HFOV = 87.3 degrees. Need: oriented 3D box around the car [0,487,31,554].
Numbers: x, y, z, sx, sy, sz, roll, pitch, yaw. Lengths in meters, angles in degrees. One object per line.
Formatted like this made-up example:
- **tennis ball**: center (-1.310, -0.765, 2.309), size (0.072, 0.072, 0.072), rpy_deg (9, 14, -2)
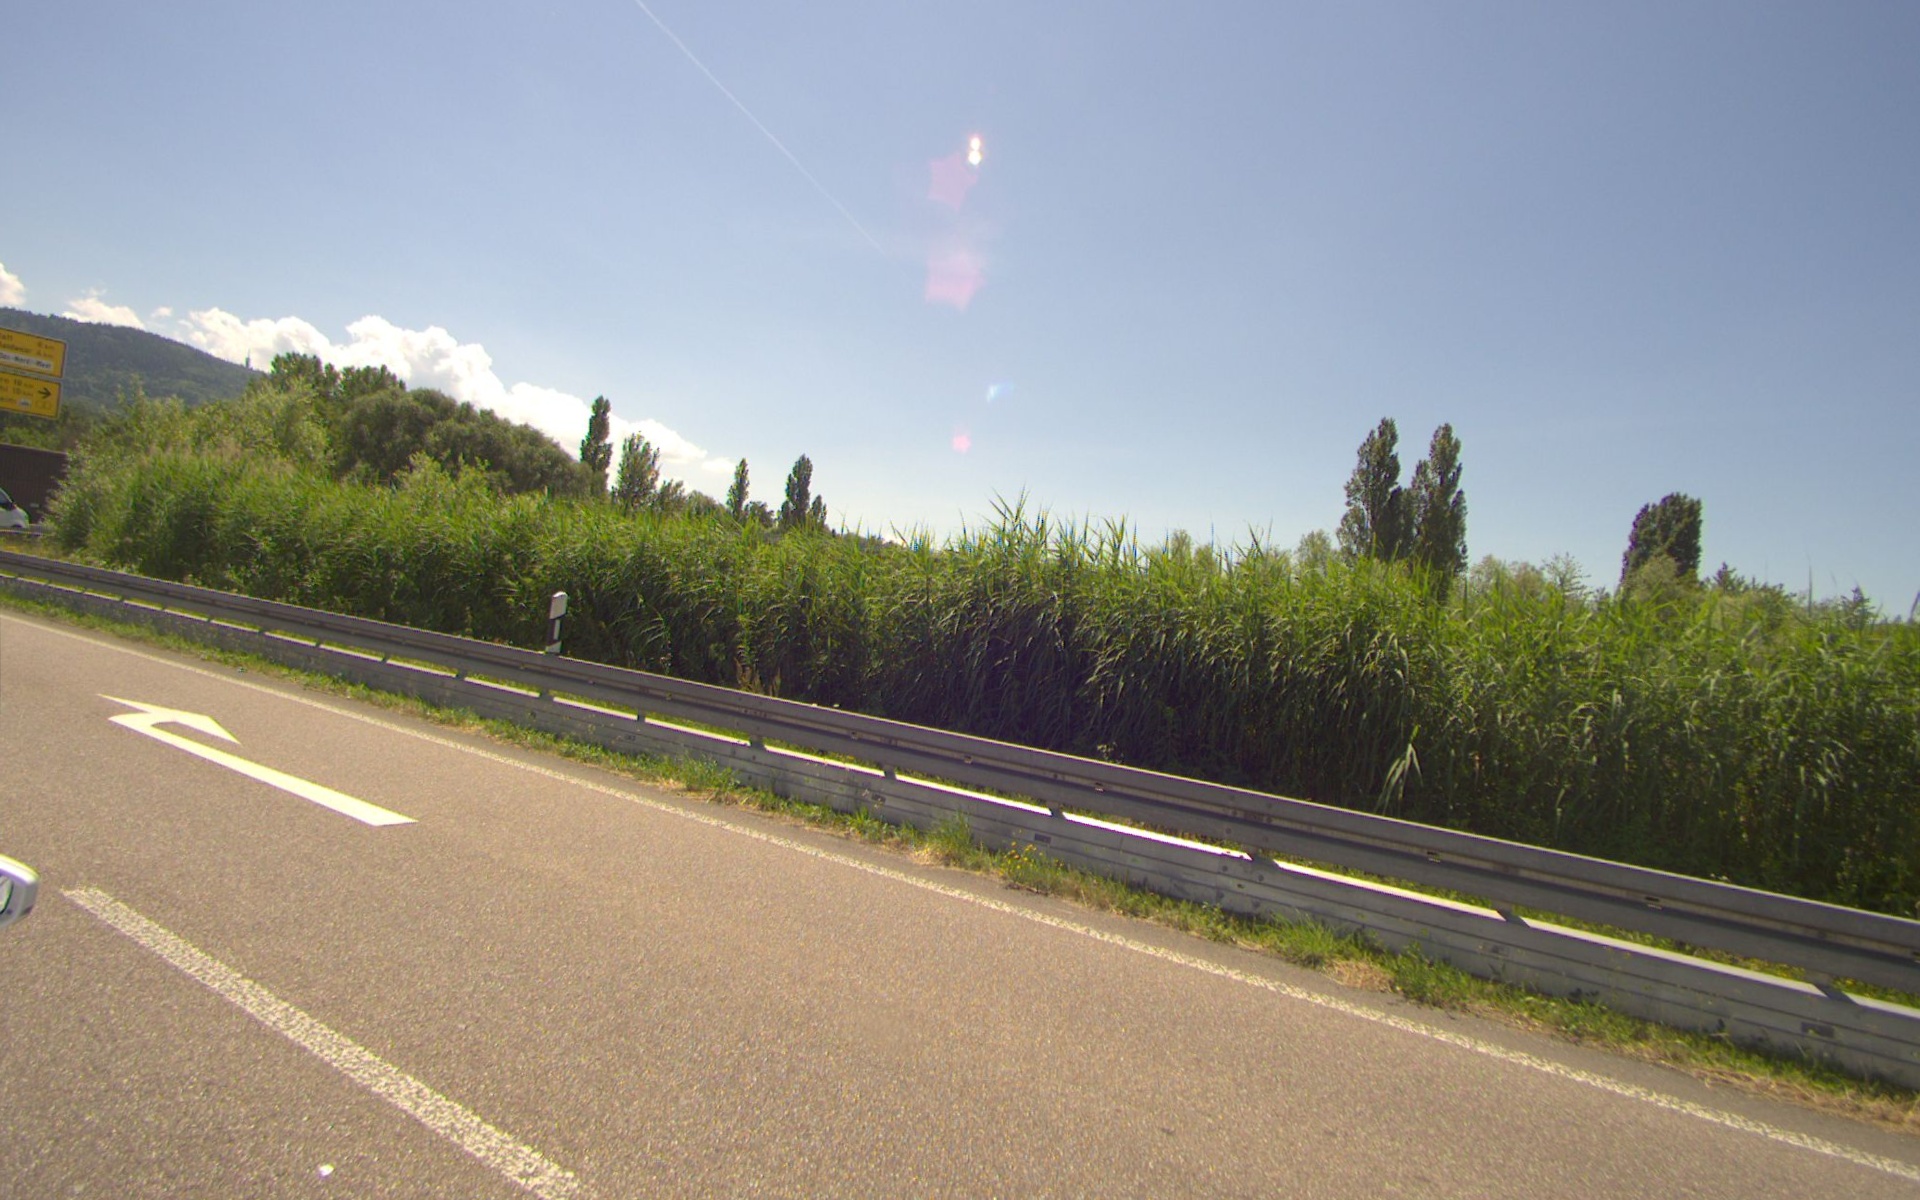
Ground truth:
- **car**: center (-30.583, -2.631, 29.932), size (1.903, 2.023, 4.829), rpy_deg (7, -2, -12)
